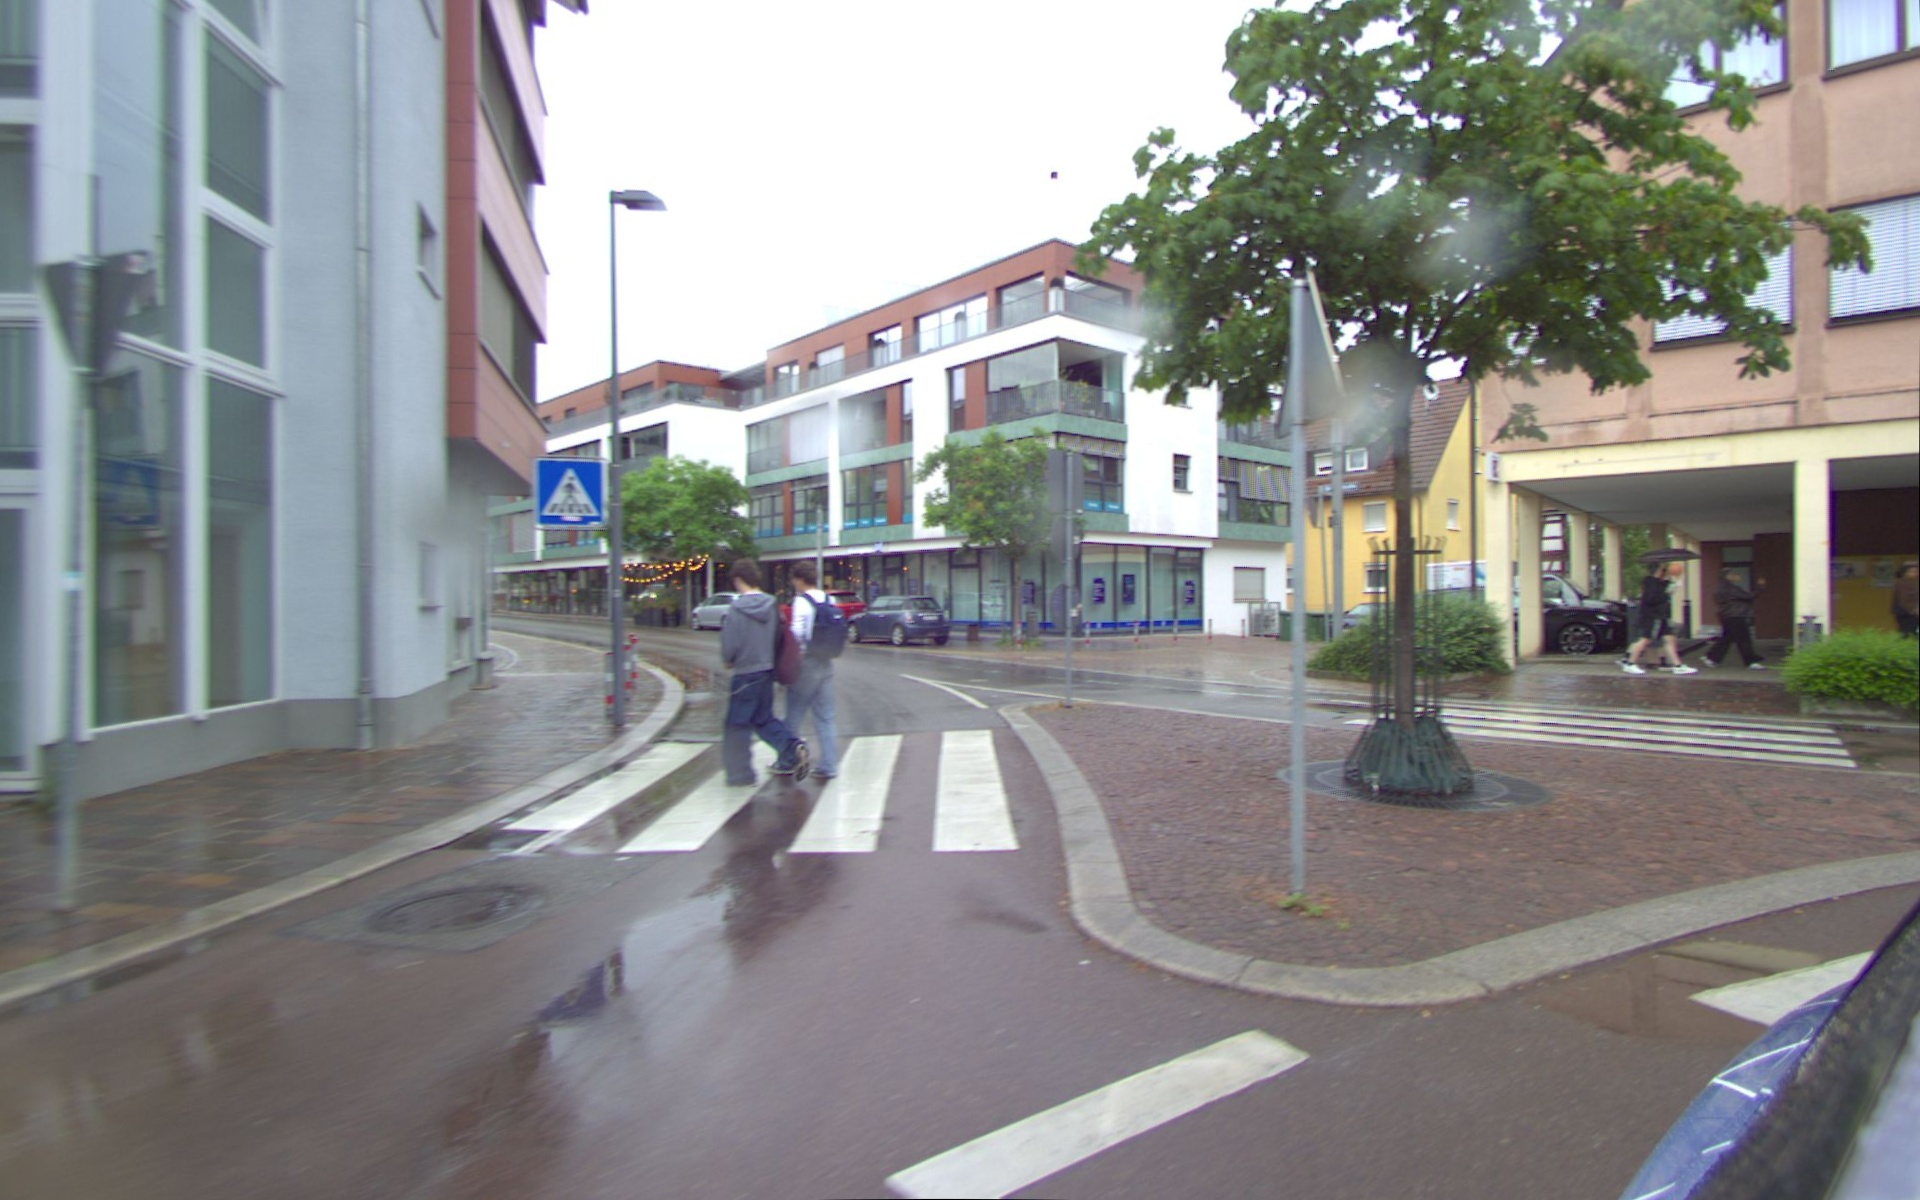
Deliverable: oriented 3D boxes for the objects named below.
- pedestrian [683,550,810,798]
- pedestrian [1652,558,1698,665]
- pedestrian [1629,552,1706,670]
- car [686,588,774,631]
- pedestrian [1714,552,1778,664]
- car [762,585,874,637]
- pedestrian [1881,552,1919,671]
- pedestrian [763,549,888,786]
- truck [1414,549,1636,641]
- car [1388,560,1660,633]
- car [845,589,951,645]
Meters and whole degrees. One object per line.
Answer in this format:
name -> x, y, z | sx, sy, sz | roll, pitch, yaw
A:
pedestrian -> -1.727, 0.538, 8.086 | 0.680, 1.823, 1.059 | -1, 0, -30
pedestrian -> 11.496, 0.171, 16.277 | 0.519, 1.684, 0.533 | -1, 0, 43
pedestrian -> 11.019, 0.164, 15.762 | 0.889, 1.771, 0.725 | -1, 0, 41
car -> -8.629, 0.305, 37.818 | 1.592, 1.430, 3.996 | -4, 3, -38
pedestrian -> 12.378, 0.125, 15.943 | 0.740, 1.711, 0.626 | -1, 0, 42
car -> -4.751, 0.323, 33.511 | 1.603, 1.519, 3.989 | -5, 3, -44
pedestrian -> 13.386, 0.147, 14.075 | 0.733, 1.623, 0.823 | -4, 3, -45
pedestrian -> -1.140, 0.514, 8.432 | 0.652, 1.829, 1.062 | -1, 0, -30
truck -> 12.349, -0.101, 22.240 | 3.983, 1.831, 1.742 | -1, 0, 41
car -> 11.066, -0.068, 20.056 | 4.452, 1.292, 1.742 | -1, 1, 42
car -> -1.855, 0.452, 29.546 | 1.513, 1.378, 3.372 | -2, 4, -37
